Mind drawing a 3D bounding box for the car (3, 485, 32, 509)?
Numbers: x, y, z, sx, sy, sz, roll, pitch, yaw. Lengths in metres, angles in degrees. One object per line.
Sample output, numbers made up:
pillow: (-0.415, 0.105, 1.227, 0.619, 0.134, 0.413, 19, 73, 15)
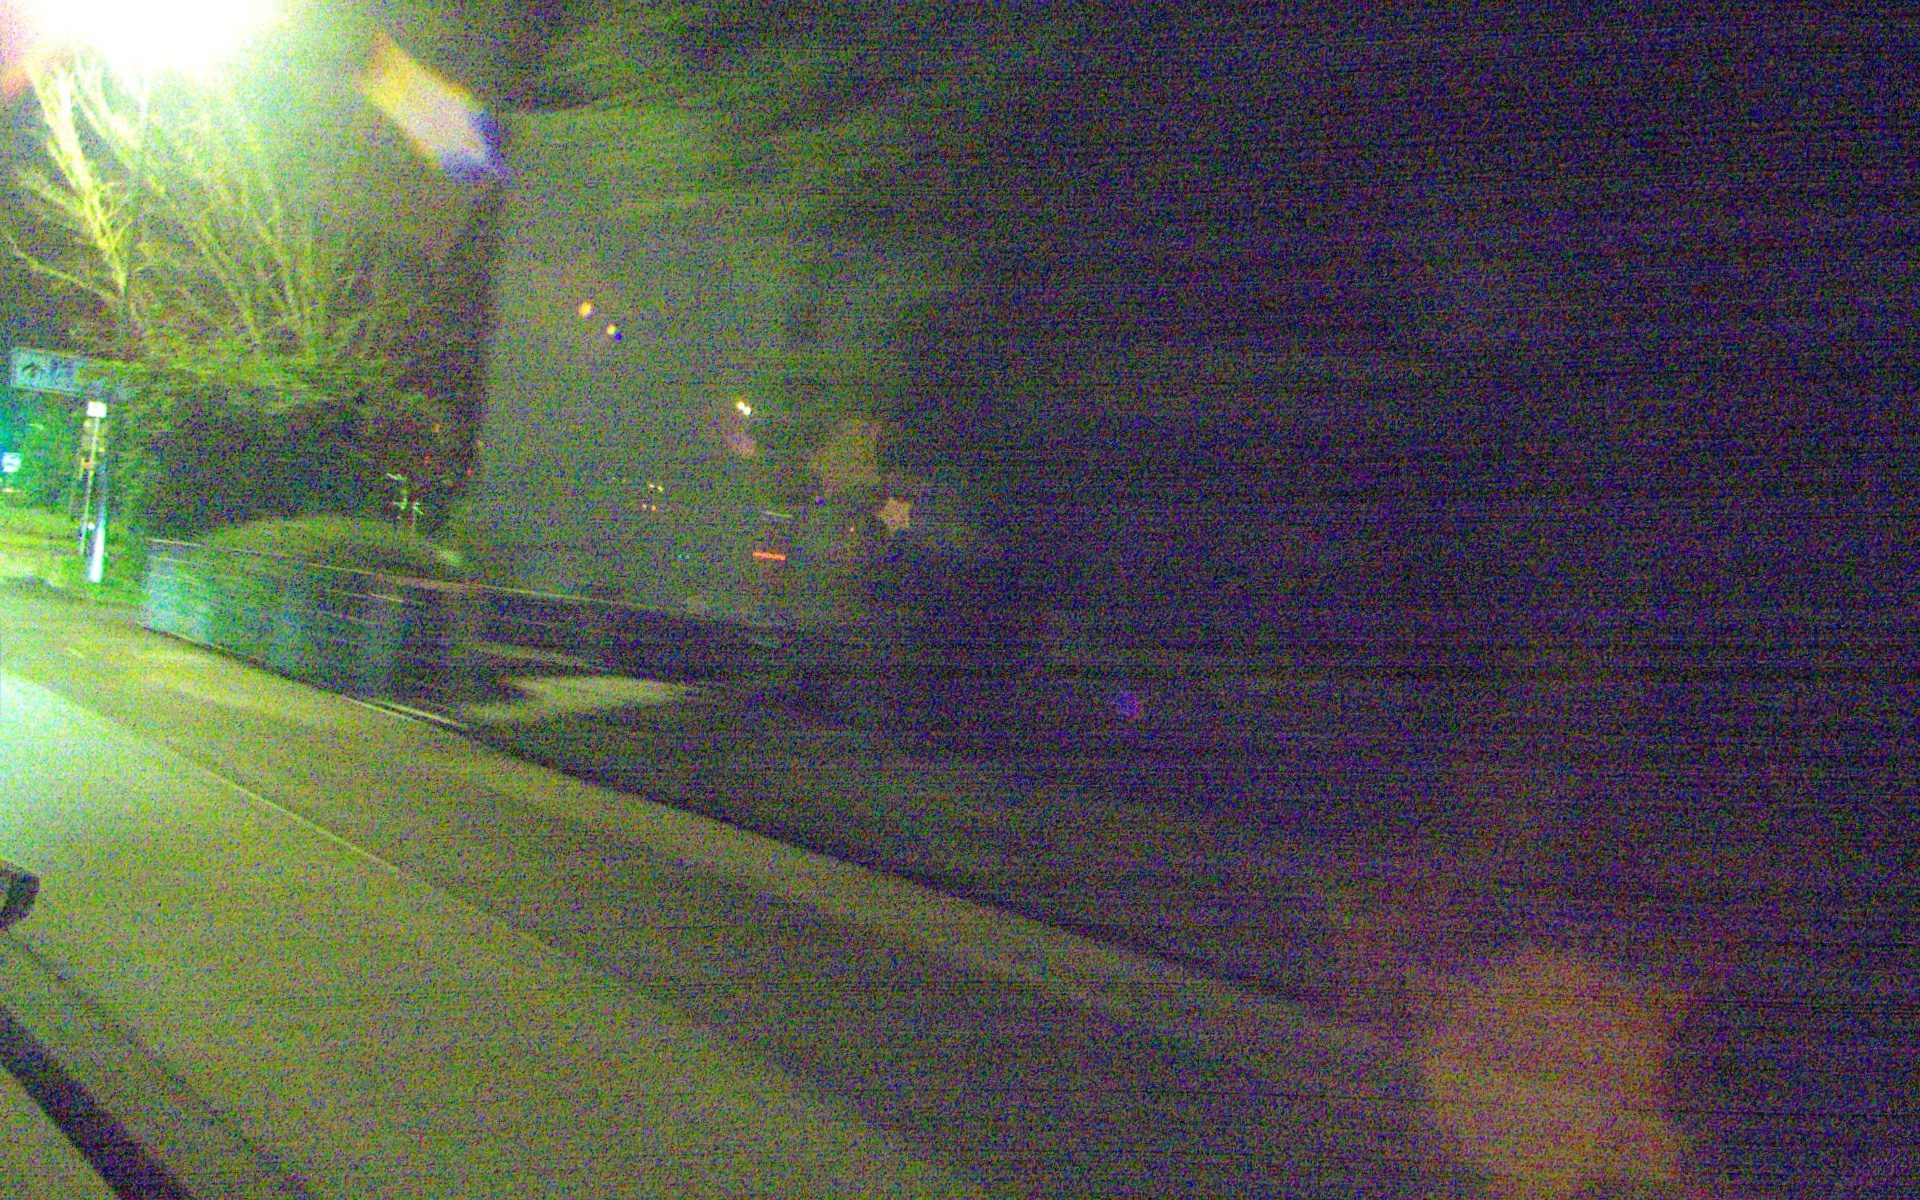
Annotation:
car: (-102.028, -11.105, 108.898, 1.987, 2.036, 3.955, 8, -4, -42)

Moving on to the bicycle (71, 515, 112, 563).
bicycle: (-19.013, -1.326, 21.999, 1.917, 0.994, 0.295, 3, -2, 40)
